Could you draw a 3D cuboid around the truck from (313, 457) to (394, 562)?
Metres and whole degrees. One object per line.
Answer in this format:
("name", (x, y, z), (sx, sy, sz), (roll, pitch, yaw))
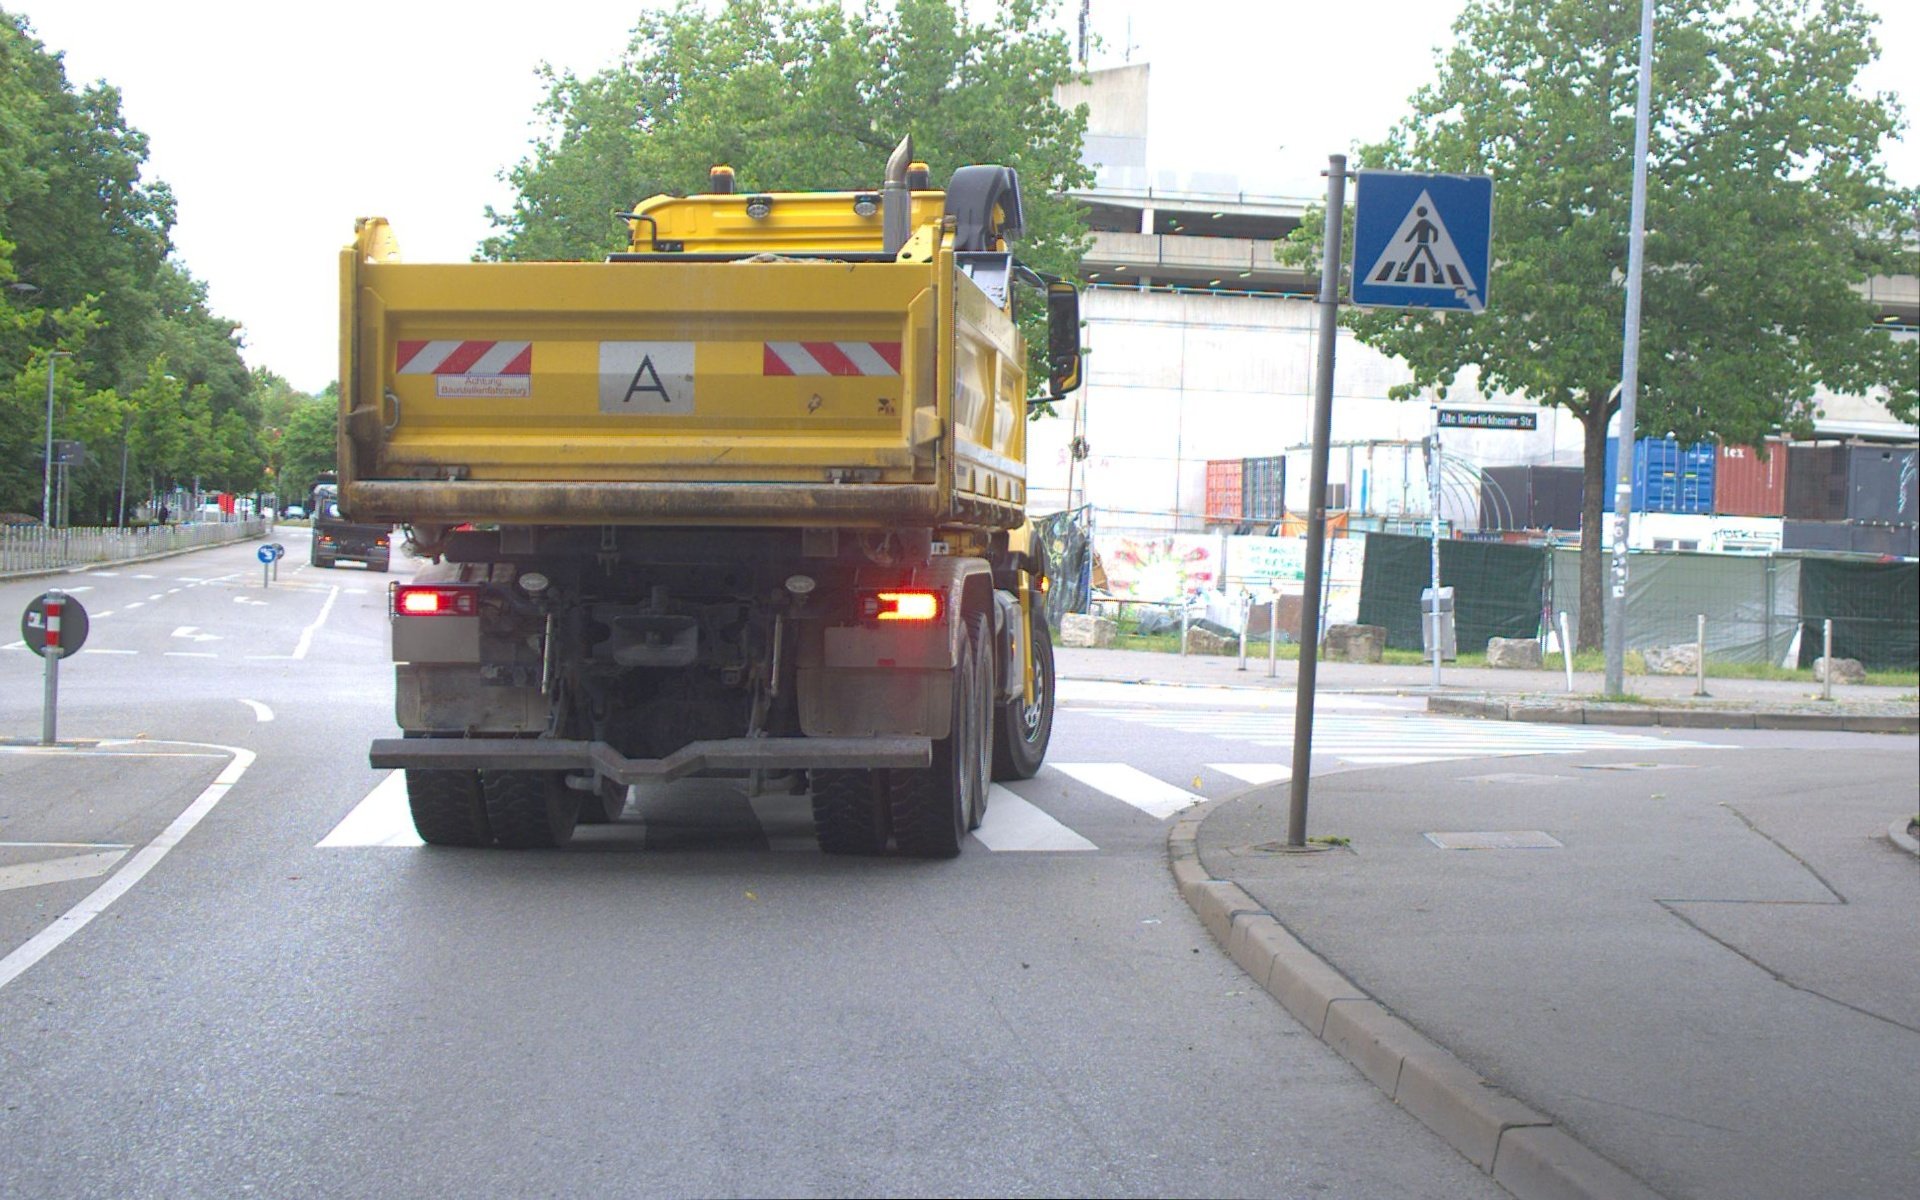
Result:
("truck", (-21.291, -3.125, 120.462), (2.672, 3.546, 7.925), (-1, 1, -11))

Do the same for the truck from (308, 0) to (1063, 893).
("truck", (-0.999, -0.703, 17.805), (2.758, 3.686, 7.879), (0, 1, 4))
